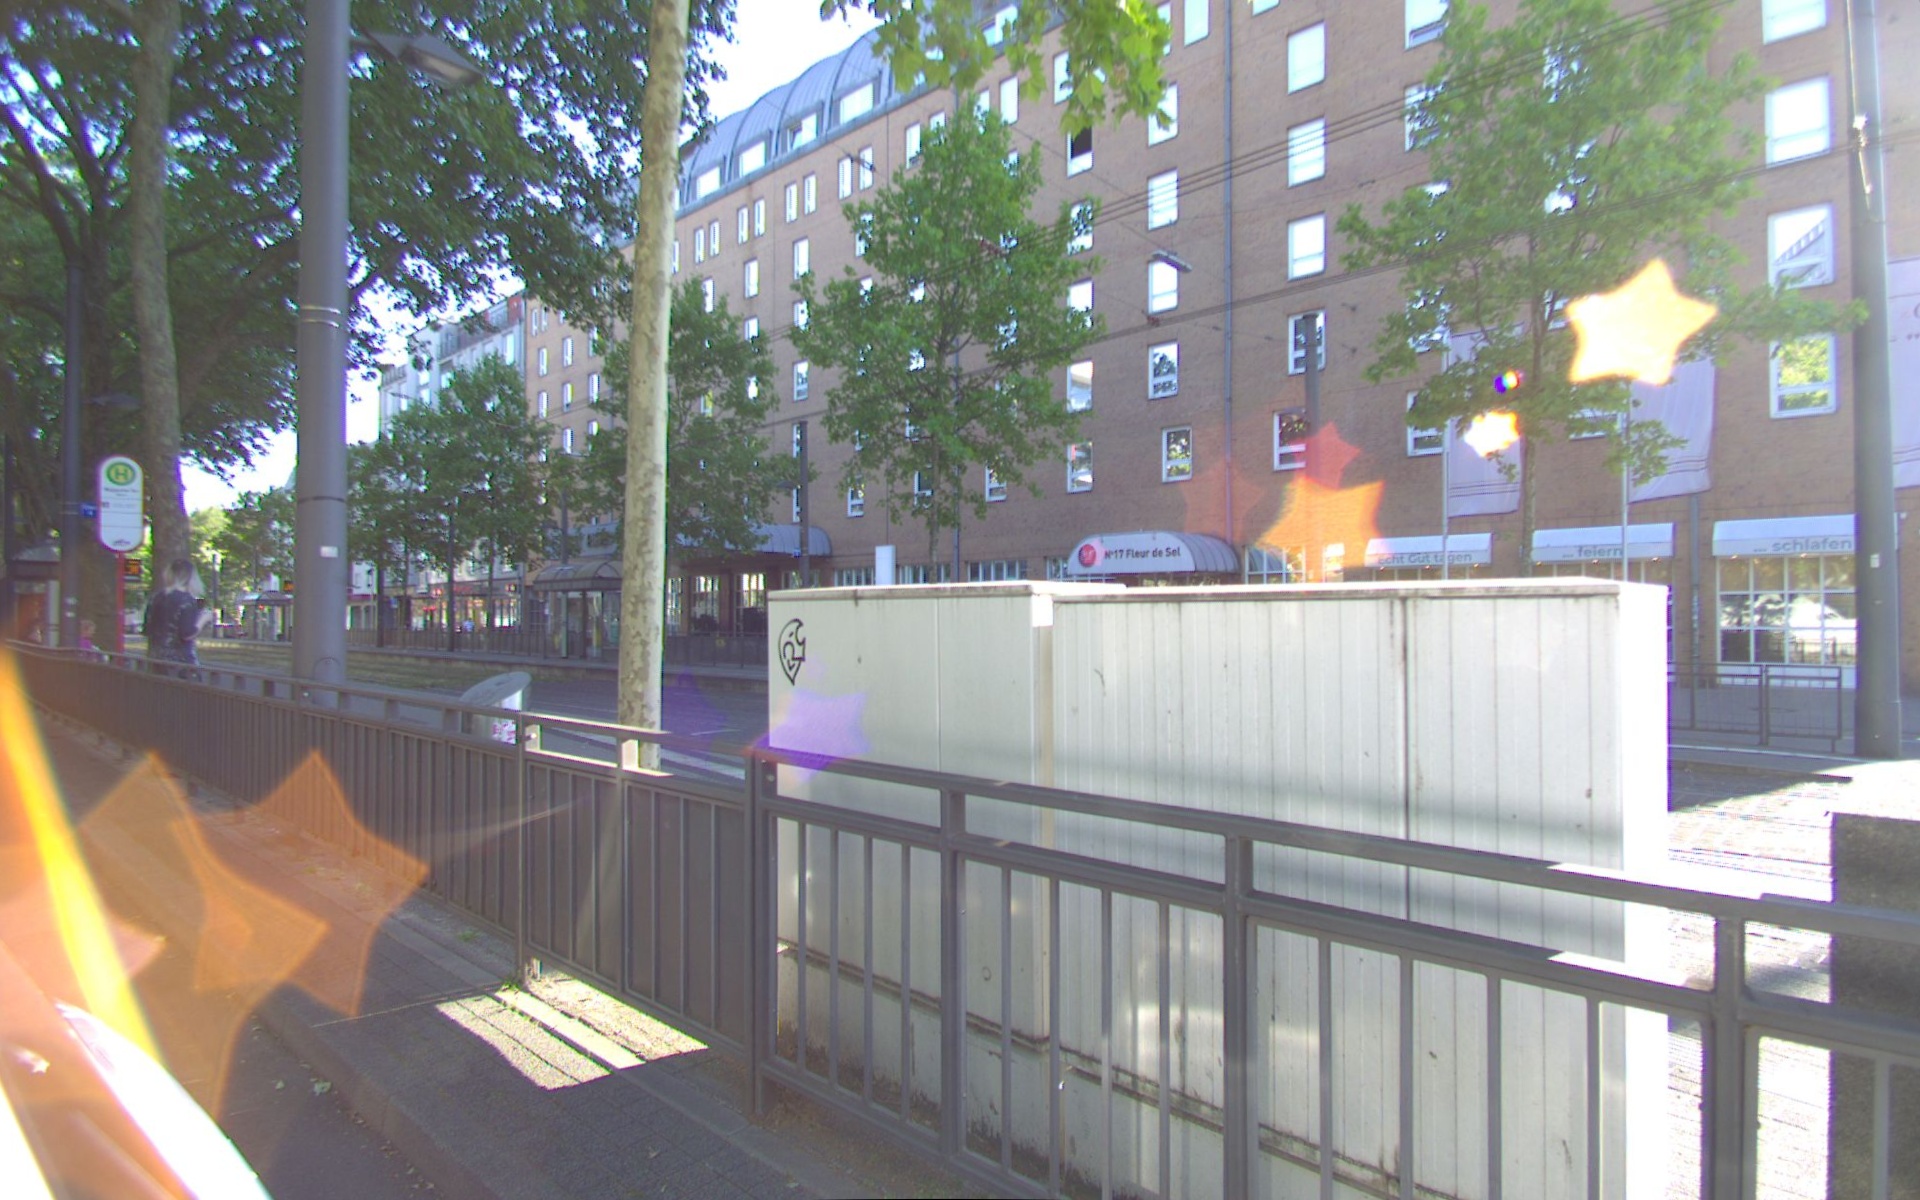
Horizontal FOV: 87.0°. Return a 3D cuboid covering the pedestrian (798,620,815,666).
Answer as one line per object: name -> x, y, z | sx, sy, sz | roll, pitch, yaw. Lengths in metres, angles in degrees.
pedestrian -> -5.862, 1.631, 38.642 | 0.437, 1.748, 0.545 | 1, -2, -42

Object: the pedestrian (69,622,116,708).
pedestrian -> -13.968, 1.035, 16.308 | 0.534, 1.327, 0.525 | -1, 0, -37

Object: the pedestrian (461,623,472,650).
pedestrian -> -33.104, 2.443, 67.896 | 0.574, 1.748, 0.497 | -2, -2, 43

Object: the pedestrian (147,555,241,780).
pedestrian -> -6.573, 0.552, 8.690 | 0.524, 1.848, 0.536 | -1, 0, 42
